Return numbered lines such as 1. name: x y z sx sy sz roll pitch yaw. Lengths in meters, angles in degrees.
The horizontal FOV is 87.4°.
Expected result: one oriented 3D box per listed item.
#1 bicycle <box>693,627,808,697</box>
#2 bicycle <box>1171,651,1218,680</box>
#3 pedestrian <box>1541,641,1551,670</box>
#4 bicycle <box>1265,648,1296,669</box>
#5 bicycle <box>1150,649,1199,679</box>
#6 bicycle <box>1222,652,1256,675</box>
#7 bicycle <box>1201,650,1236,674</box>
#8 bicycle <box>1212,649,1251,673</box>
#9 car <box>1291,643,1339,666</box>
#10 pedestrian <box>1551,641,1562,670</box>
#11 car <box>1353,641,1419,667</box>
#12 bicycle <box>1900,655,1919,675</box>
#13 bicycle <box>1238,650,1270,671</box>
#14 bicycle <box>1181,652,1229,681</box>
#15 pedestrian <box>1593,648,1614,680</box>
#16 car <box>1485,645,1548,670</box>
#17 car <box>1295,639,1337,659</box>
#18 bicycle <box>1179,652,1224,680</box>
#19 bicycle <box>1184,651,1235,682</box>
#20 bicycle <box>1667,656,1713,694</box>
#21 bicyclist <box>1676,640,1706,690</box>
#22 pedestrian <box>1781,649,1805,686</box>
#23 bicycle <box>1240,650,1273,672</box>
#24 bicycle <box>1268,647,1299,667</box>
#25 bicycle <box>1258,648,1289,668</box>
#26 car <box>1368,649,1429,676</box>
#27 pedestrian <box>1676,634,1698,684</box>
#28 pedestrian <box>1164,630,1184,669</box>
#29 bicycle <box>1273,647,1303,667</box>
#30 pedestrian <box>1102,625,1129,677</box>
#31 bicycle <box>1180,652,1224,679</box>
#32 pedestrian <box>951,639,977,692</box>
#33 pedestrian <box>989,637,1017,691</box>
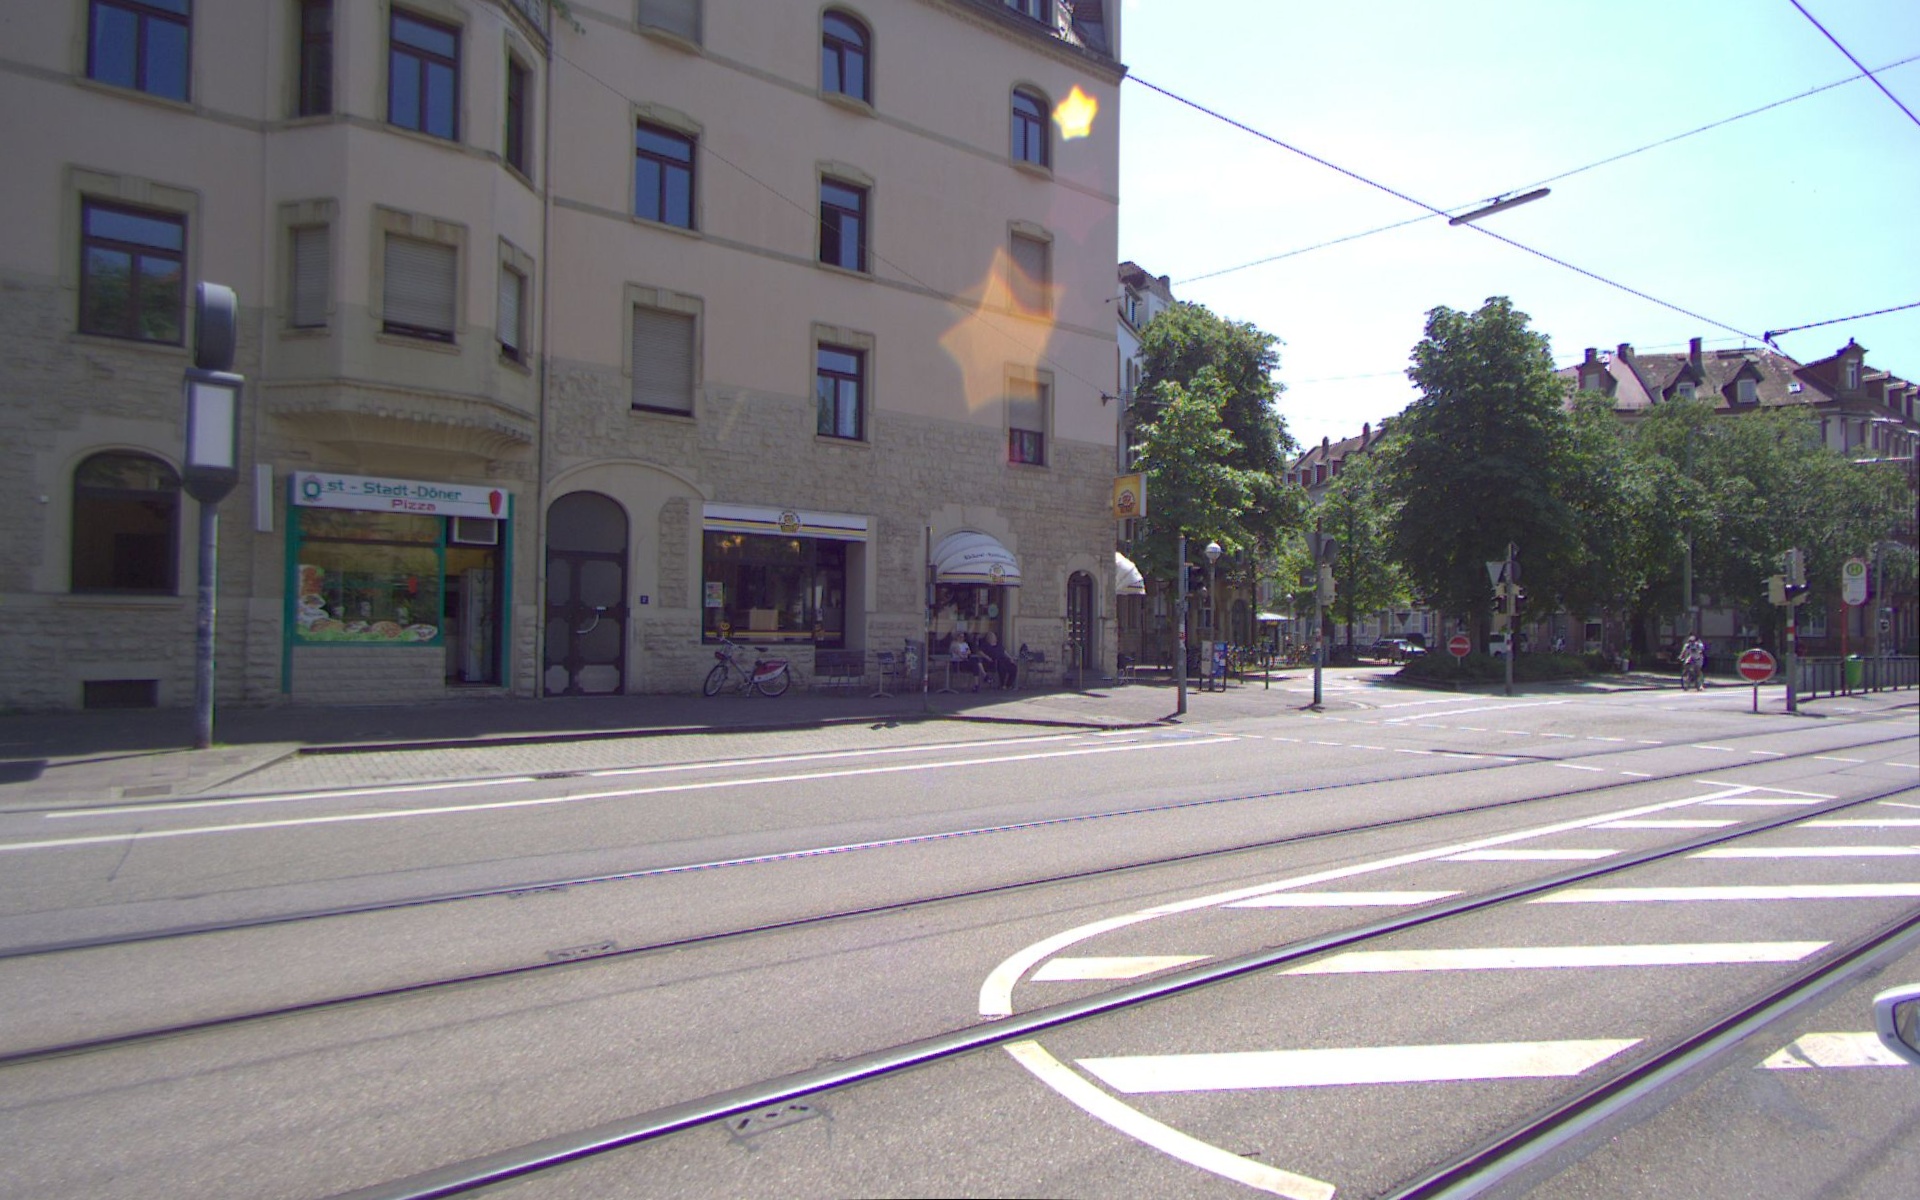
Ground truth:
1. bicycle: -3.926 1.168 18.834 2.046 1.241 0.454 3 -1 -16
2. bicycle: 8.608 2.390 36.956 1.639 0.987 0.290 2 -1 7
3. pedestrian: 37.644 3.555 64.527 0.499 1.791 0.528 1 -2 33
4. bicycle: 16.473 3.003 51.582 1.470 0.969 0.407 1 -2 45
5. bicycle: 7.595 2.278 35.574 1.639 0.987 0.290 2 -1 7
6. bicycle: 12.739 2.888 45.814 1.470 0.969 0.407 1 -2 45
7. bicycle: 11.356 2.718 44.087 1.470 0.969 0.407 1 -2 45
8. bicycle: 12.077 2.715 44.701 1.639 0.987 0.290 2 -1 7
9. car: 24.923 3.825 70.551 1.514 1.461 3.735 2 -2 -10
10. pedestrian: 37.763 3.511 63.550 0.555 1.849 0.634 1 -2 33
11. car: 26.789 3.368 63.235 1.522 1.461 3.716 3 -2 -26
12. bicycle: 58.121 3.951 61.086 1.488 1.185 0.365 2 0 6
13. bicycle: 14.310 2.930 48.908 1.470 0.969 0.407 1 -2 45
14. bicycle: 8.894 2.422 36.475 1.639 0.987 0.290 2 -1 7
15. pedestrian: 26.393 2.615 41.206 0.539 1.272 0.646 2 -1 15
16. car: 36.170 3.705 65.361 1.514 1.461 3.735 2 -2 -10
17. car: 31.213 4.284 88.169 1.728 1.639 3.993 2 -2 -10
18. bicycle: 9.445 2.574 39.289 1.639 0.987 0.290 2 -1 7
19. bicycle: 8.454 2.255 34.054 1.639 0.987 0.290 2 -1 7
20. bicycle: 23.682 2.426 32.562 1.959 1.172 0.624 2 -1 -36
21. bicyclist: 23.744 2.118 32.616 0.579 1.595 0.604 3 -2 -35
22. pedestrian: 37.590 3.056 45.303 0.766 1.626 0.674 3 -2 -38
23. bicycle: 13.960 2.858 47.329 1.470 0.969 0.407 1 -2 45
24. bicycle: 16.770 2.963 52.049 1.470 0.969 0.407 1 -2 45
25. bicycle: 15.989 2.966 51.280 1.470 0.969 0.407 1 -2 45
26. car: 28.686 4.097 65.779 1.561 1.595 3.566 3 -2 -24
27. pedestrian: 28.158 2.291 38.899 0.488 1.904 0.508 3 -2 -30
28. pedestrian: 10.028 2.332 47.151 0.618 1.800 0.607 3 -2 -31
29. bicycle: 17.141 2.984 52.500 1.470 0.969 0.407 1 -2 45
30. pedestrian: 5.355 1.765 34.643 0.721 1.754 0.540 3 -2 -37
31. bicycle: 9.568 2.599 39.688 1.639 0.987 0.290 2 -1 7
32. pedestrian: 0.086 1.410 21.665 0.402 1.103 0.352 3 -2 -38
33. pedestrian: 0.946 1.413 22.126 0.402 1.163 0.402 3 -2 -38
